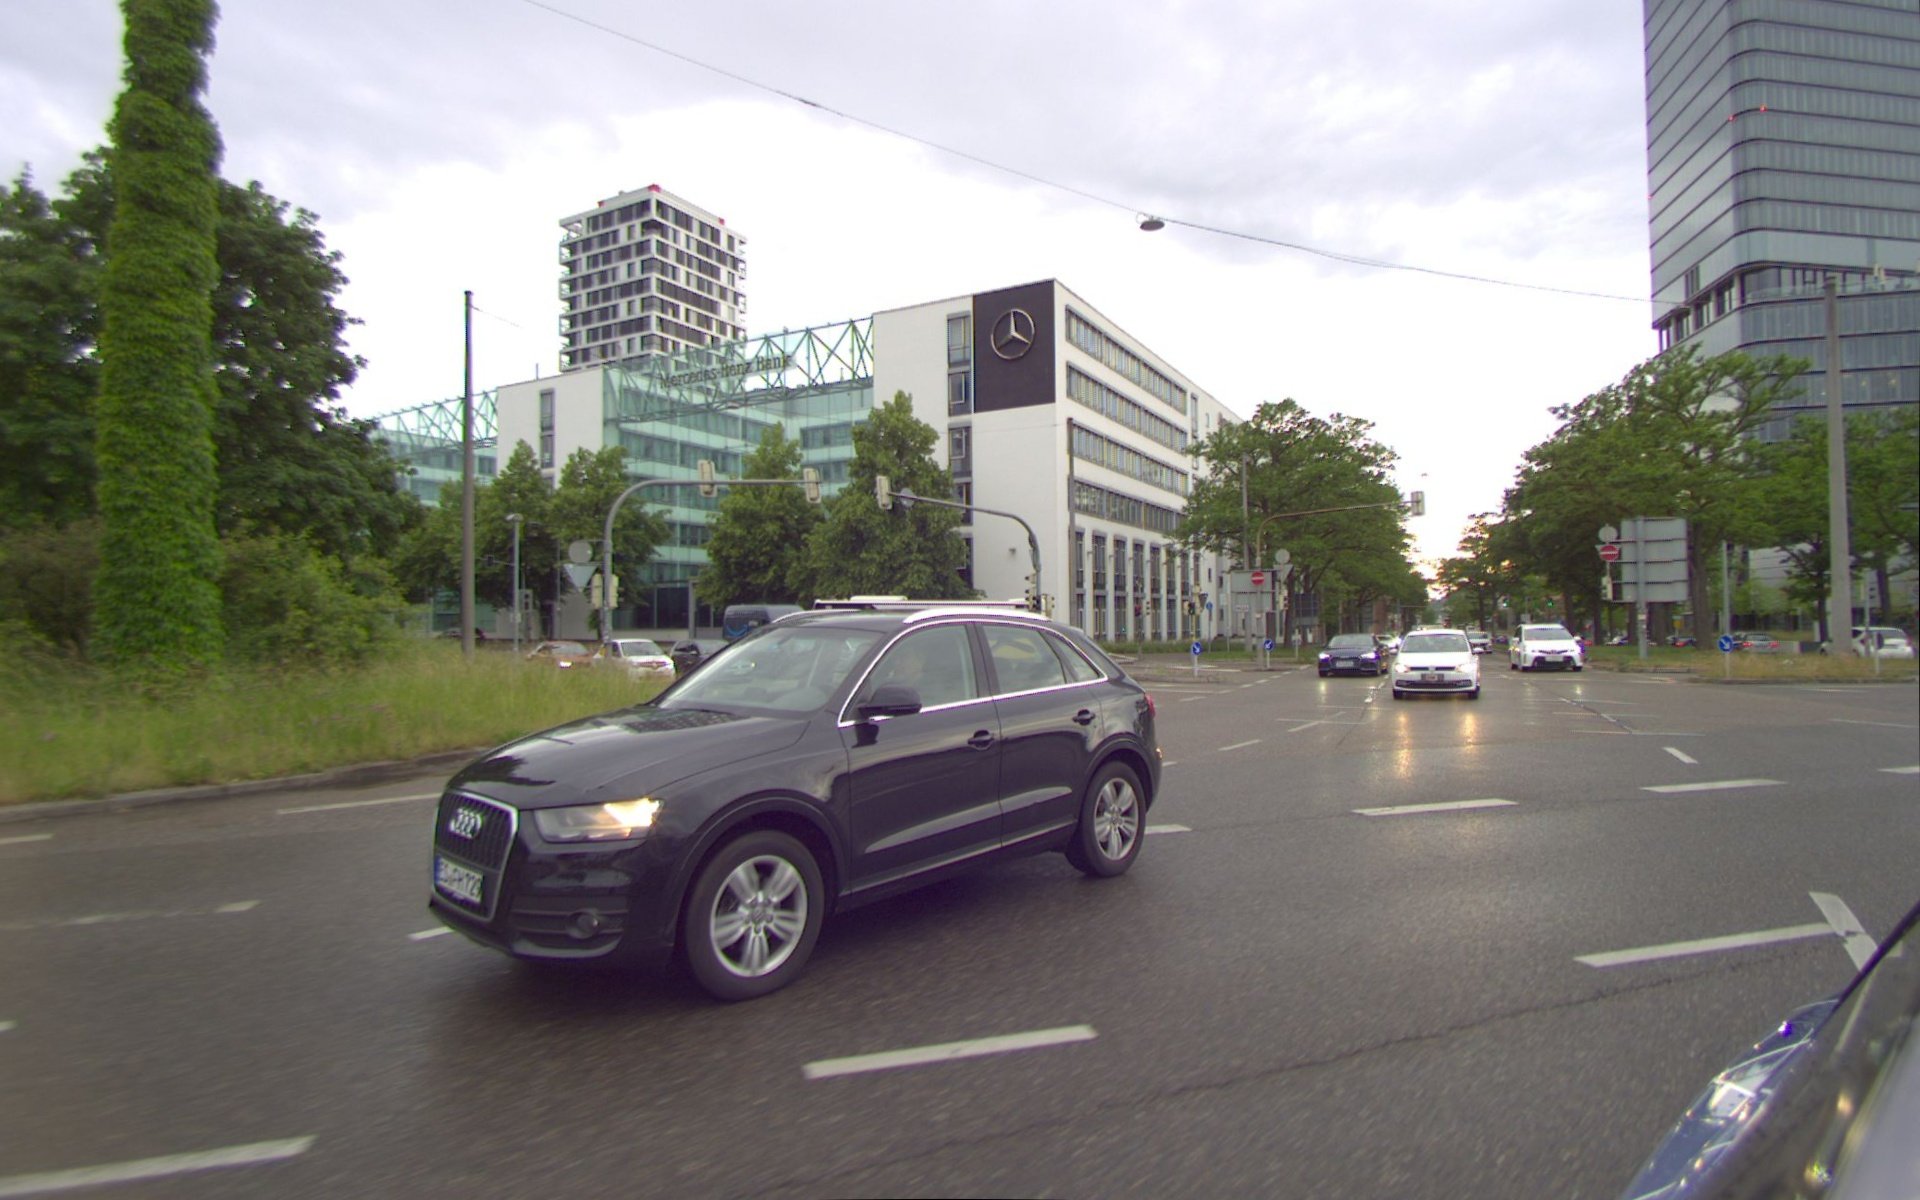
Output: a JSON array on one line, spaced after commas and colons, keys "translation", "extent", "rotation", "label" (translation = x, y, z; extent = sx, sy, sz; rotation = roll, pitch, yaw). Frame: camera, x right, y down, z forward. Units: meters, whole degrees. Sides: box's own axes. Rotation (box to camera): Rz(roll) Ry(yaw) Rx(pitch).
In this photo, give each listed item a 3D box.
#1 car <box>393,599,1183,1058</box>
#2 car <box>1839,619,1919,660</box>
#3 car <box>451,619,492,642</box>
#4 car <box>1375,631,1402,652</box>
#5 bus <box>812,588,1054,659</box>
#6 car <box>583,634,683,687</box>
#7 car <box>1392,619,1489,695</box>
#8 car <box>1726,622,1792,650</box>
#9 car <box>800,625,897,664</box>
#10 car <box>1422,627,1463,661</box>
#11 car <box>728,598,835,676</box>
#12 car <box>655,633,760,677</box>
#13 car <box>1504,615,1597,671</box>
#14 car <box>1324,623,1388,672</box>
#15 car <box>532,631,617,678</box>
[{"translation": [-0.591, 0.786, 5.529], "extent": [1.725, 1.553, 4.062], "rotation": [-1, -1, 43], "label": "car"}, {"translation": [35.842, 1.487, 39.047], "extent": [1.663, 1.504, 3.763], "rotation": [-2, -2, 22], "label": "car"}, {"translation": [-34.400, 2.167, 71.200], "extent": [1.813, 1.586, 4.163], "rotation": [0, -2, -38], "label": "car"}, {"translation": [33.255, 3.225, 78.522], "extent": [1.597, 1.533, 3.597], "rotation": [-1, -1, 28], "label": "car"}, {"translation": [-1.372, 1.169, 49.133], "extent": [11.668, 3.242, 1.991], "rotation": [-1, -1, 14], "label": "bus"}, {"translation": [-10.743, 1.939, 33.082], "extent": [1.813, 1.586, 4.163], "rotation": [0, -2, -38], "label": "car"}, {"translation": [10.640, 1.208, 22.382], "extent": [1.713, 1.491, 4.224], "rotation": [-3, -2, 26], "label": "car"}, {"translation": [45.629, 2.057, 57.881], "extent": [1.763, 1.504, 4.026], "rotation": [-2, -2, 22], "label": "car"}, {"translation": [-4.413, 1.722, 39.538], "extent": [1.701, 1.433, 4.111], "rotation": [1, -2, -42], "label": "car"}, {"translation": [21.665, 1.958, 45.508], "extent": [1.554, 1.433, 3.845], "rotation": [-2, -2, 25], "label": "car"}, {"translation": [-6.690, 1.345, 37.548], "extent": [1.894, 2.700, 4.800], "rotation": [0, -2, -38], "label": "car"}, {"translation": [-8.907, 1.896, 35.442], "extent": [1.894, 1.414, 4.551], "rotation": [0, -2, -38], "label": "car"}, {"translation": [19.867, 1.411, 34.260], "extent": [1.804, 1.603, 4.271], "rotation": [-3, -1, 19], "label": "car"}, {"translation": [12.874, 1.487, 32.786], "extent": [1.741, 1.416, 3.966], "rotation": [-1, -1, 24], "label": "car"}, {"translation": [-14.191, 1.954, 37.123], "extent": [1.813, 1.586, 4.163], "rotation": [0, -2, -38], "label": "car"}]
